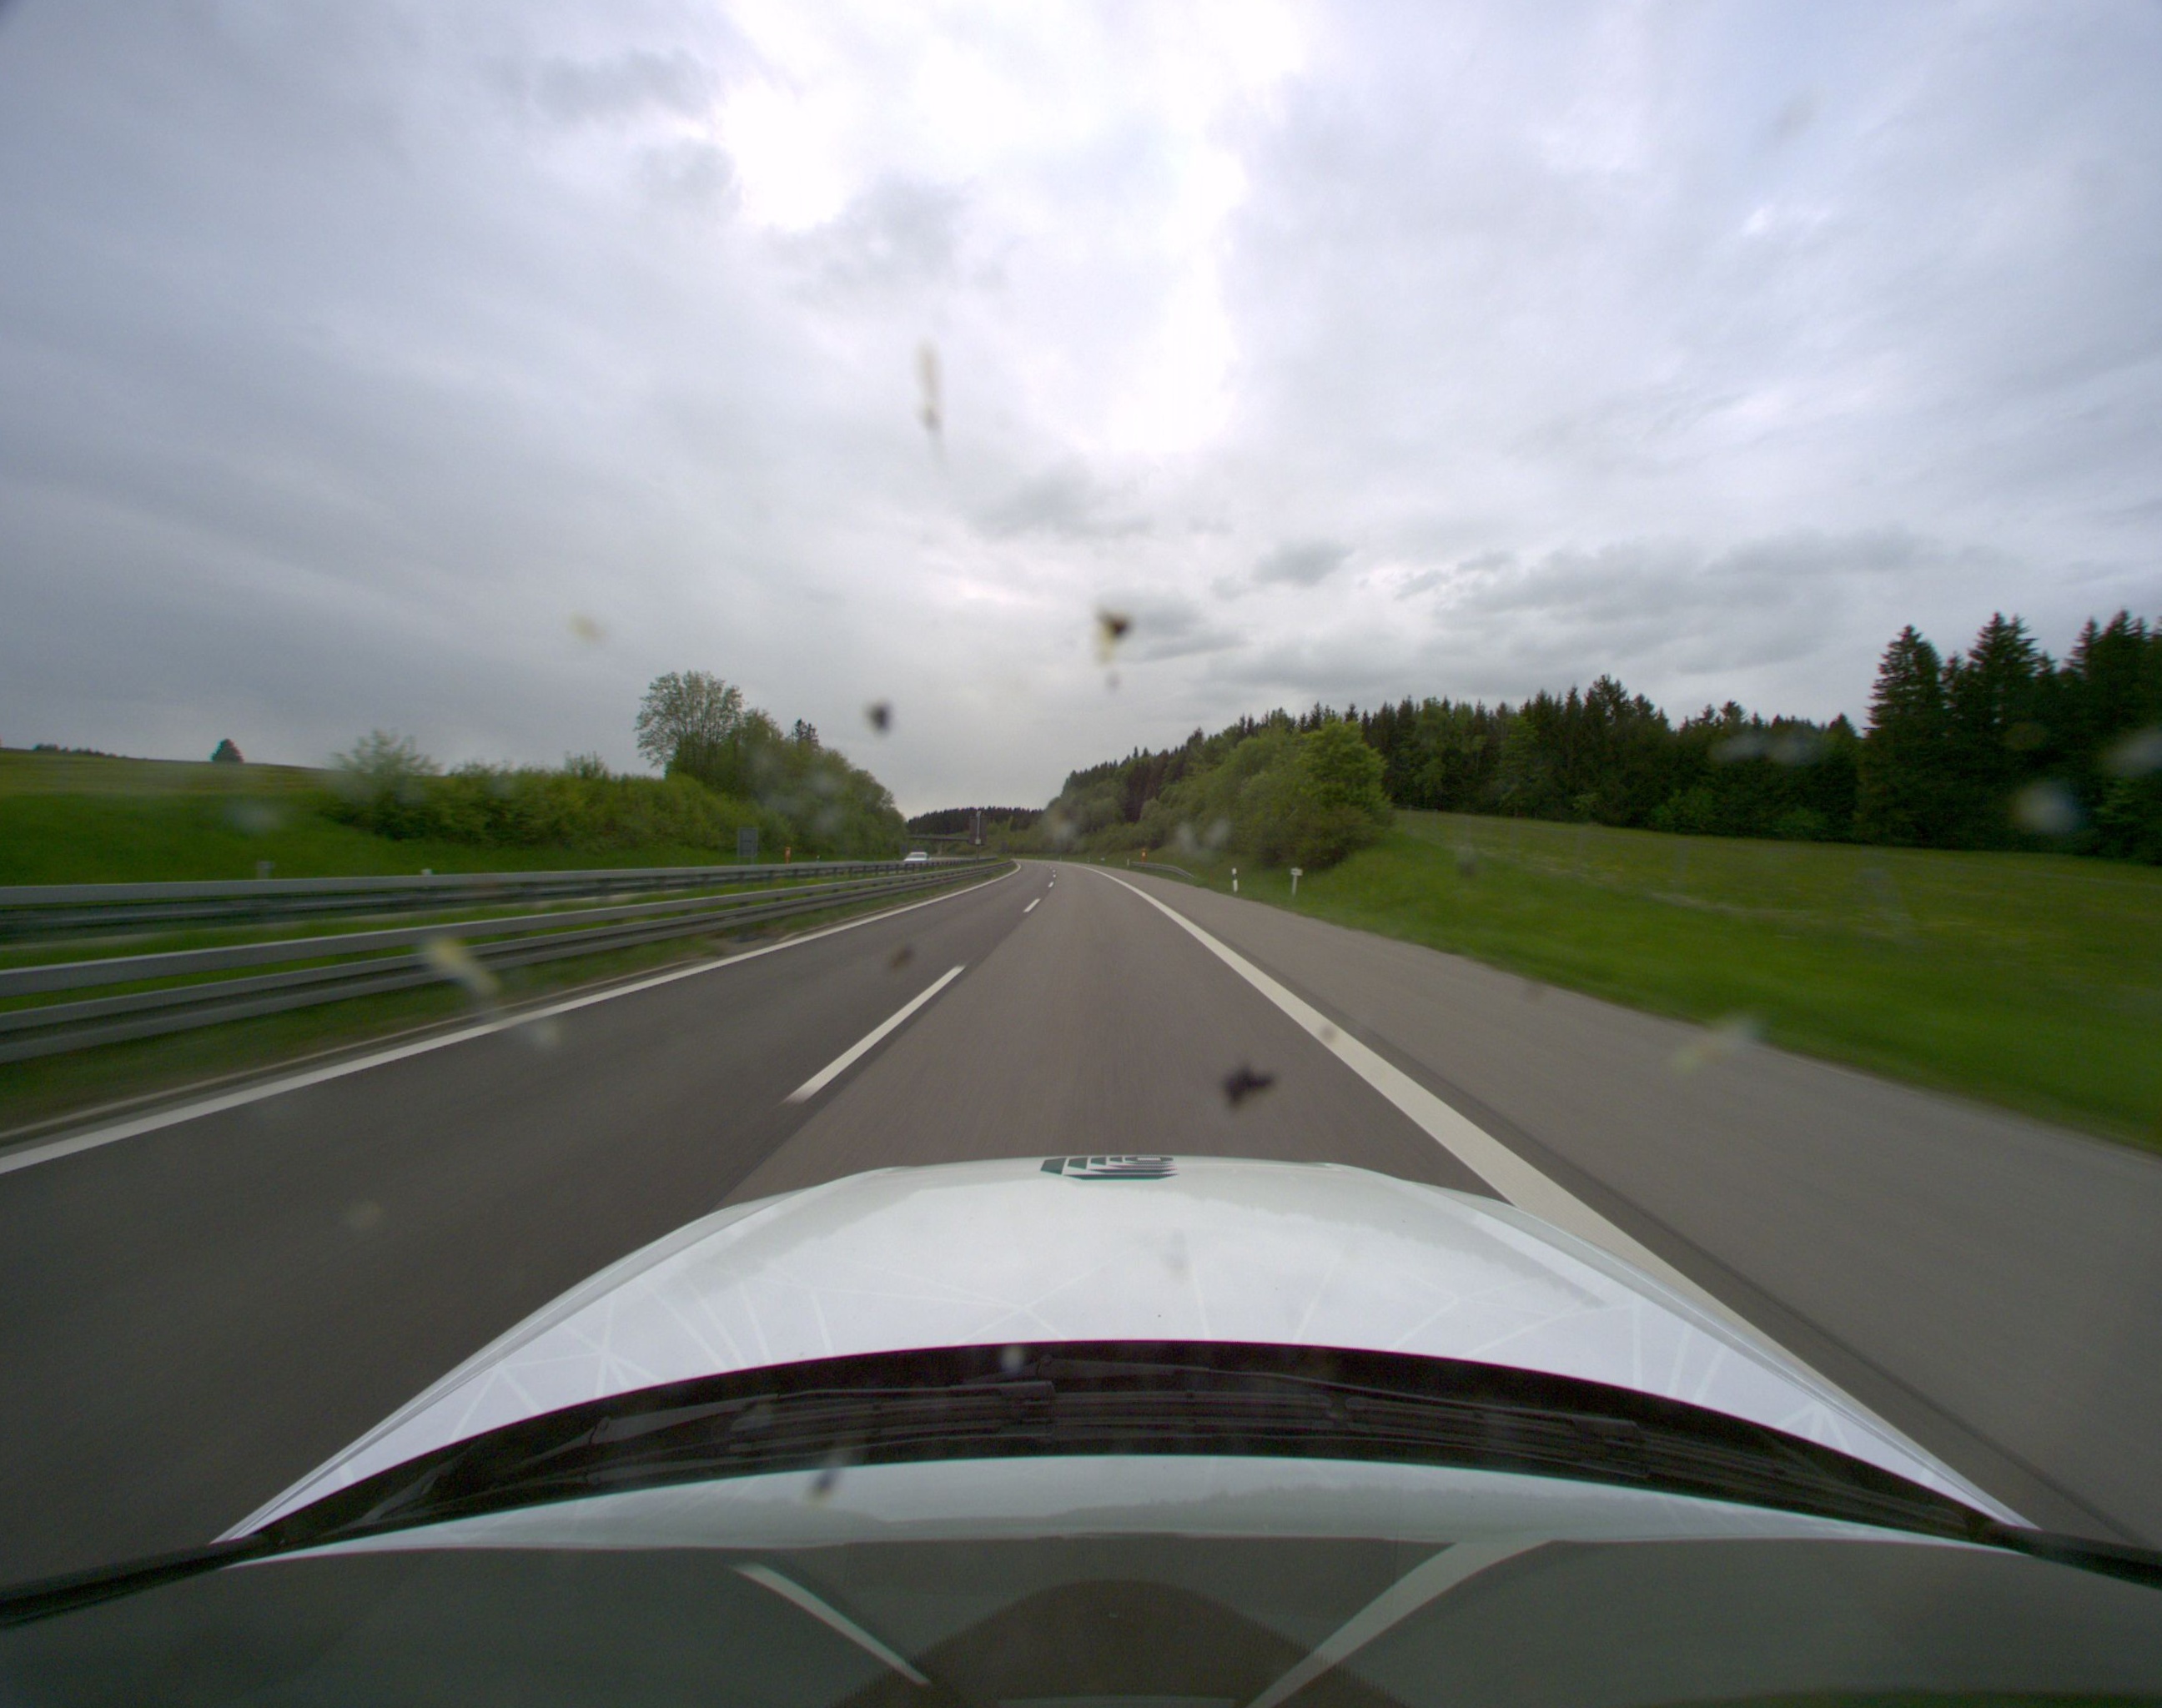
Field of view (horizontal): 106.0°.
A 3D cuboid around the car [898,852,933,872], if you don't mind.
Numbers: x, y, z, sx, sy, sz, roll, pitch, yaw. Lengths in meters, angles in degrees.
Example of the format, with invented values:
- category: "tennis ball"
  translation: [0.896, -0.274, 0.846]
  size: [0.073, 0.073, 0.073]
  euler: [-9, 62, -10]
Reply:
- category: "car"
  translation: [-13.135, 0.593, 64.805]
  size: [1.988, 1.429, 4.459]
  euler: [2, 0, -2]
